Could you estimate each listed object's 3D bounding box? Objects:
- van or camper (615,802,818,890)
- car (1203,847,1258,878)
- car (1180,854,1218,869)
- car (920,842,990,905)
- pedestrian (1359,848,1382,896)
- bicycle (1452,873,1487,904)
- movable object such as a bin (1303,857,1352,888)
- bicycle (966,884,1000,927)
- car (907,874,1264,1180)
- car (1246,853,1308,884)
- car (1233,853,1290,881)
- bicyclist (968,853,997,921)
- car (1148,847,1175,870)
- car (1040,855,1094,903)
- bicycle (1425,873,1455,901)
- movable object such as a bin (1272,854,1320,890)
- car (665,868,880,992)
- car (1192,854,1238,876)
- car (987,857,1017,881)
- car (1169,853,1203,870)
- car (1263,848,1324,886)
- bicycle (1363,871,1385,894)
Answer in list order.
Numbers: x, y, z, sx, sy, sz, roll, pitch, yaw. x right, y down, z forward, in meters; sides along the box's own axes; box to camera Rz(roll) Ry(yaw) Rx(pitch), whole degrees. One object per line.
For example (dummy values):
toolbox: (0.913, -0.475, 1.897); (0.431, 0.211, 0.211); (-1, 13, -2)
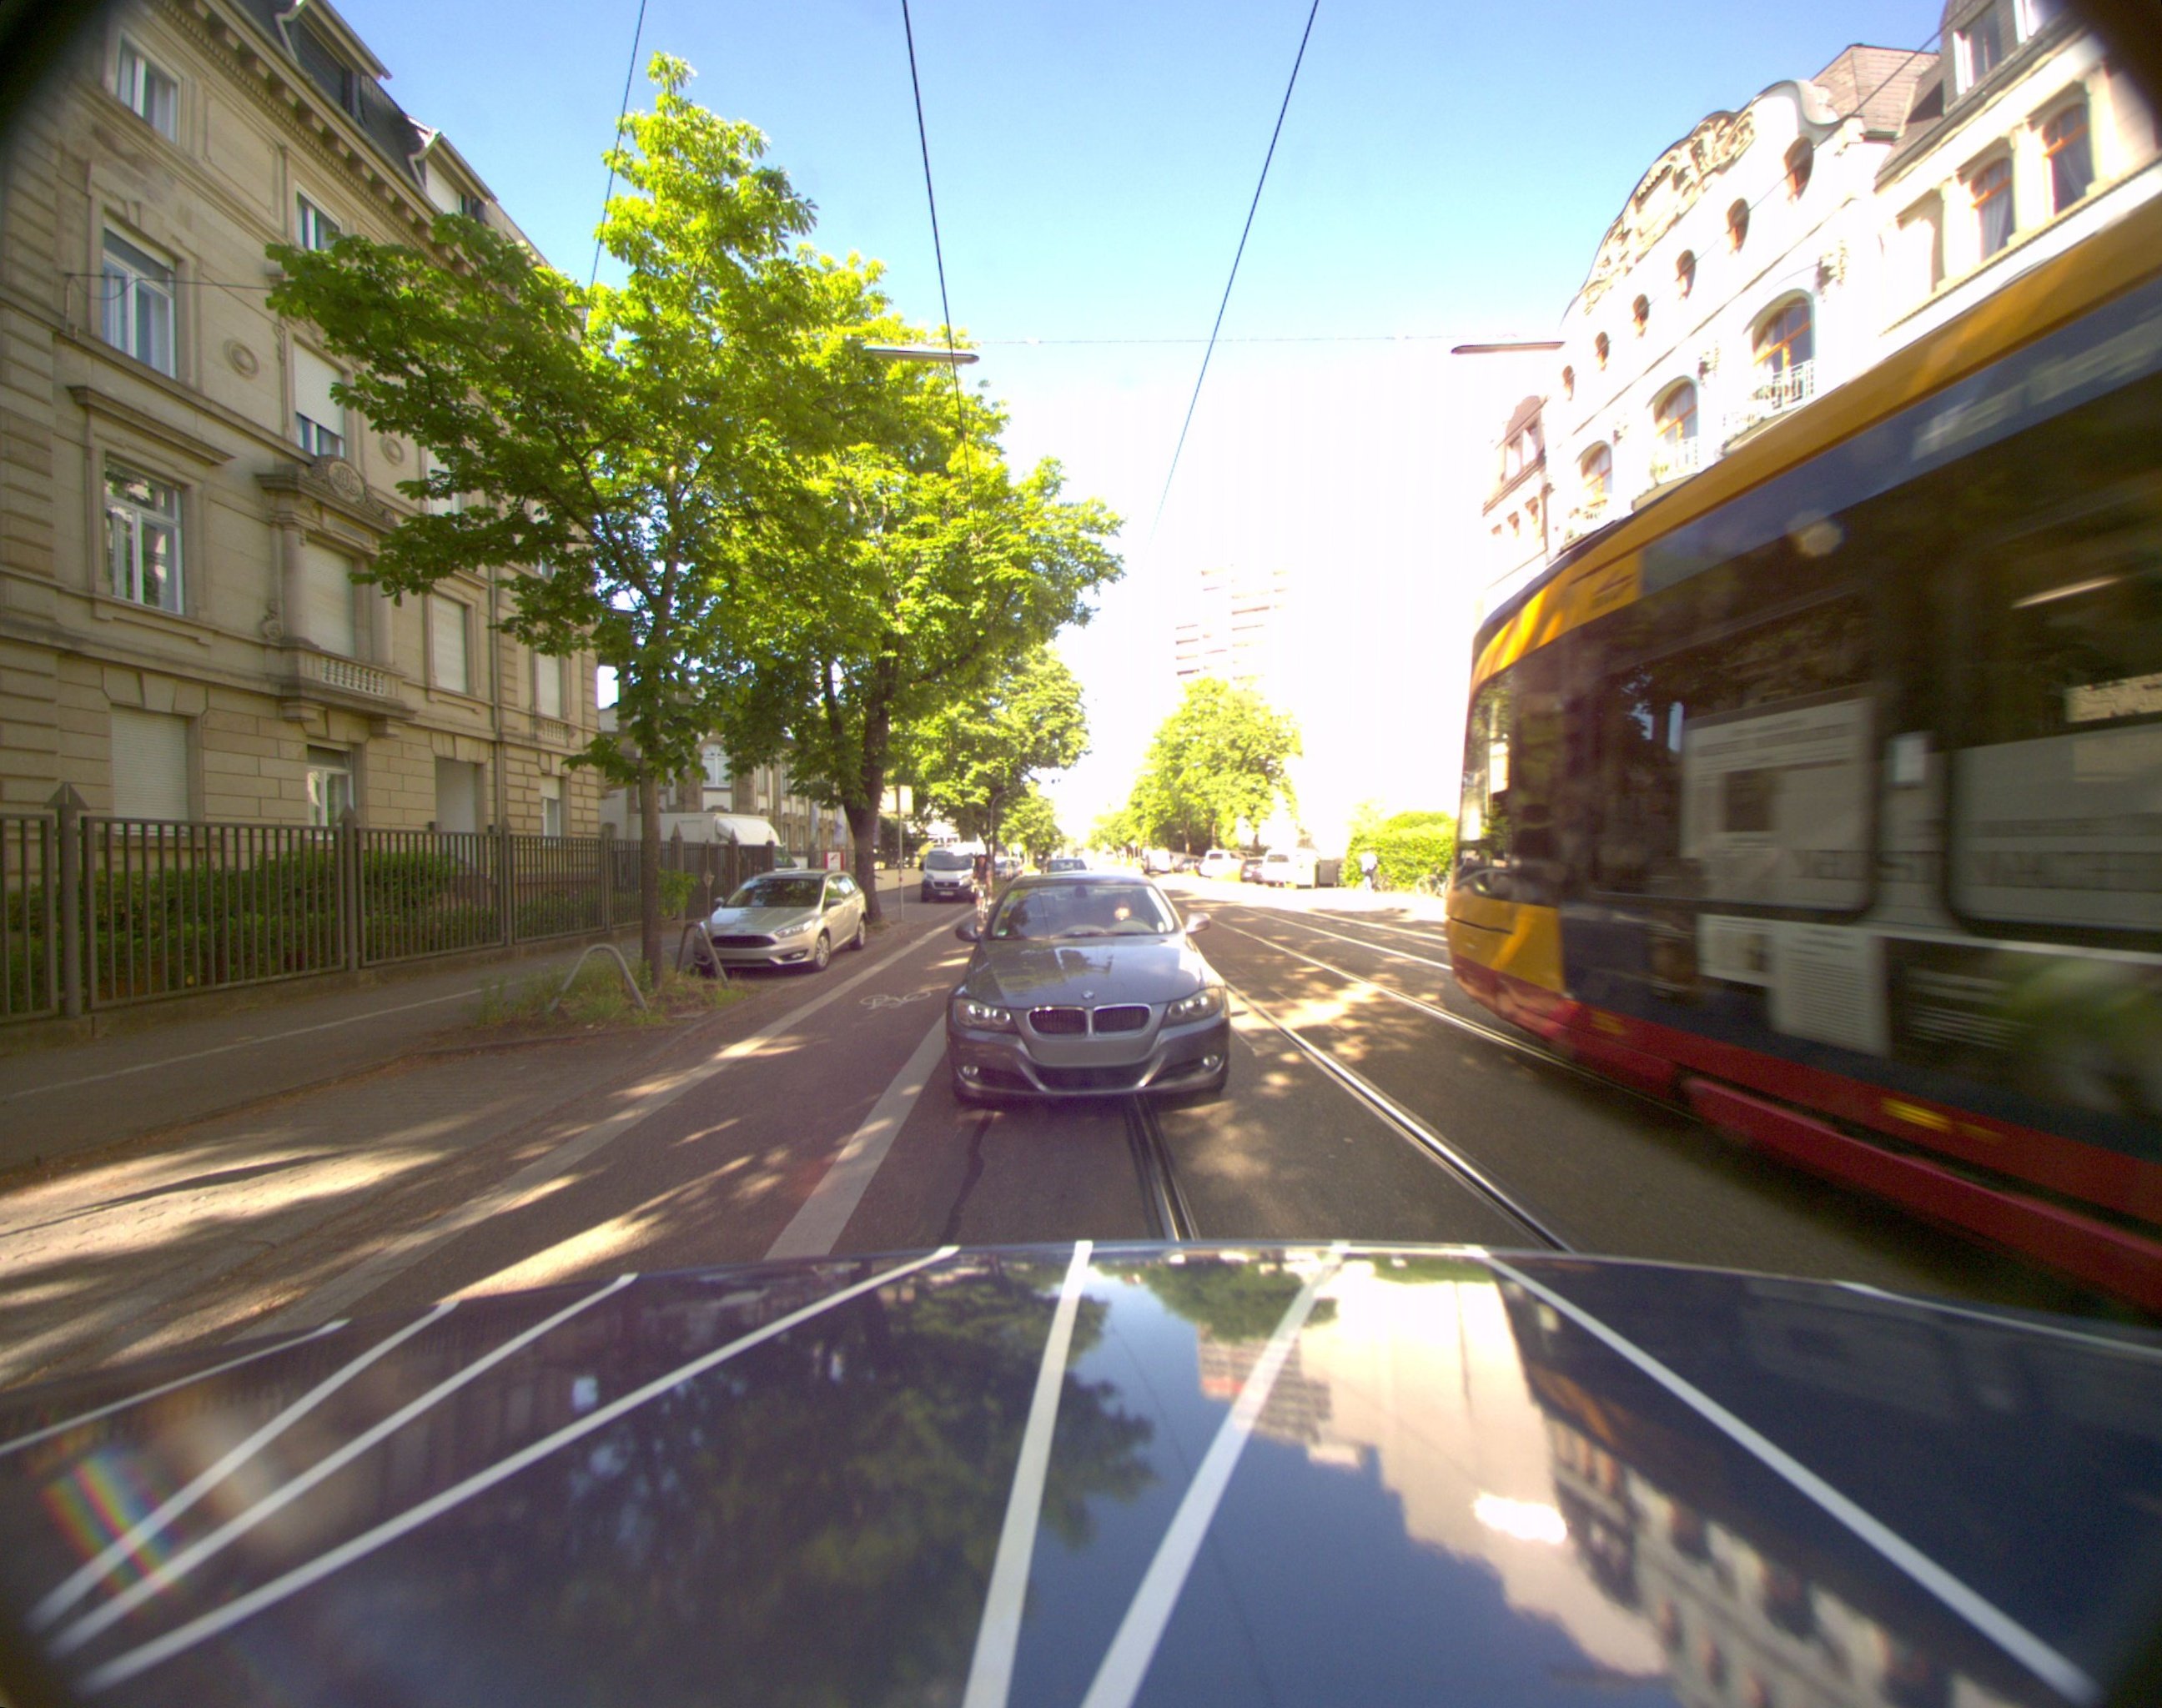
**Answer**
van or camper: (-12.171, -0.213, 25.293); (6.721, 2.612, 2.126); (-2, 1, 24)
car: (9.890, 0.545, 50.225); (3.450, 1.860, 1.918); (-3, 1, -44)
car: (9.755, 0.627, 62.806); (2.757, 1.083, 1.226); (-2, 1, -16)
car: (-4.986, 0.685, 30.890); (2.132, 2.329, 5.803); (0, 1, -3)
pedestrian: (9.915, 0.598, 26.021); (0.475, 1.619, 0.659); (-2, 1, 1)
bicycle: (10.732, 0.948, 21.022); (0.318, 0.757, 1.263); (-2, 1, 1)
movable object such as a bin: (11.108, 0.814, 34.321); (1.501, 1.309, 2.095); (-2, 1, 1)
bicycle: (-2.491, 1.291, 19.487); (0.535, 0.917, 2.057); (-2, 1, 1)
car: (0.051, 0.990, 6.095); (1.869, 1.426, 3.999); (-2, 1, 1)
car: (10.257, 0.741, 39.767); (2.757, 1.427, 1.458); (-2, 1, -16)
car: (10.255, 0.740, 43.135); (2.757, 1.427, 1.458); (-2, 1, -16)
bicyclist: (-2.512, 0.827, 19.422); (0.532, 1.660, 0.878); (-2, 1, 1)
car: (7.024, 0.359, 66.071); (1.997, 1.893, 4.003); (-2, 1, 11)
car: (-0.454, 0.876, 28.507); (1.828, 1.559, 3.999); (-2, 1, 1)
bicycle: (10.757, 0.984, 22.814); (0.297, 0.757, 1.263); (-2, 1, 1)
movable object such as a bin: (9.393, 0.761, 33.352); (1.512, 1.424, 2.095); (-2, 1, 1)
car: (-4.715, 1.061, 12.380); (1.877, 1.534, 4.364); (0, 1, -3)
car: (9.462, 0.761, 53.654); (2.757, 1.427, 1.458); (-2, 1, -16)
car: (-5.545, 1.027, 53.870); (1.866, 1.541, 4.101); (-1, 1, -3)
car: (9.666, 0.654, 69.978); (2.757, 1.417, 1.226); (-2, 1, -16)
car: (10.289, 0.641, 36.757); (3.194, 1.763, 1.456); (1, -2, -45)
bicycle: (10.624, 1.032, 27.567); (0.297, 0.757, 1.263); (-2, 1, 1)
